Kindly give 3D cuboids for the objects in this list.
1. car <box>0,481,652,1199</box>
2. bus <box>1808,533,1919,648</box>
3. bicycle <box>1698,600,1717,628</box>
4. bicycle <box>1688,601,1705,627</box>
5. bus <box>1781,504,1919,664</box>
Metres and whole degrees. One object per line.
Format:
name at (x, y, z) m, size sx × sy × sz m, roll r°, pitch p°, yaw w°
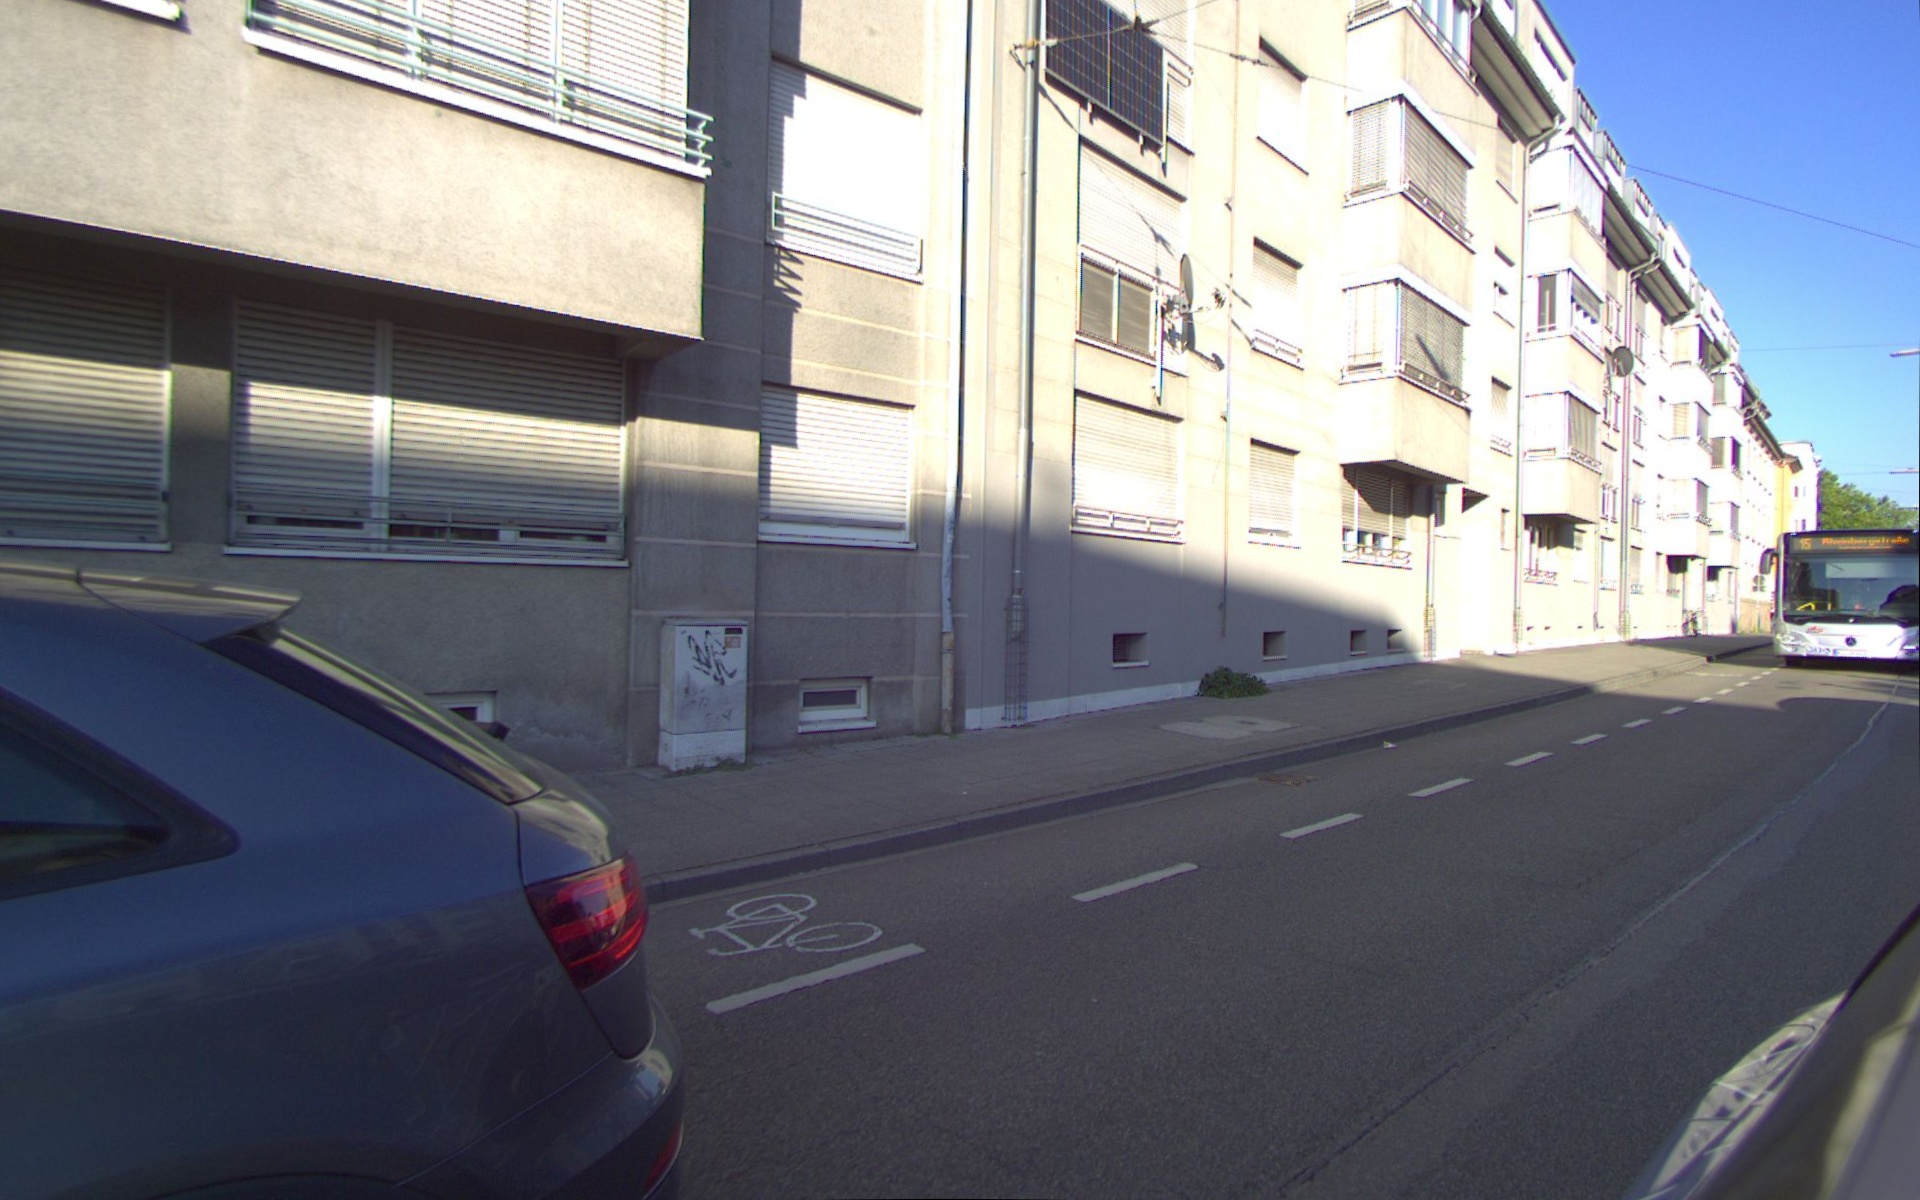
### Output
car at (-2.522, 0.655, 0.778) m, size 3.998 × 1.607 × 1.769 m, roll 1°, pitch 0°, yaw -42°
bus at (28.664, -0.229, 31.777) m, size 2.704 × 3.116 × 10.437 m, roll -1°, pitch -1°, yaw 42°
bicycle at (28.984, 0.531, 39.222) m, size 0.360 × 1.044 × 1.703 m, roll 5°, pitch 3°, yaw 43°
bicycle at (28.917, 0.555, 39.730) m, size 0.278 × 0.983 × 1.703 m, roll 5°, pitch 3°, yaw 43°
bus at (21.634, -0.281, 24.031) m, size 2.723 × 3.116 × 10.437 m, roll -1°, pitch -1°, yaw 42°
